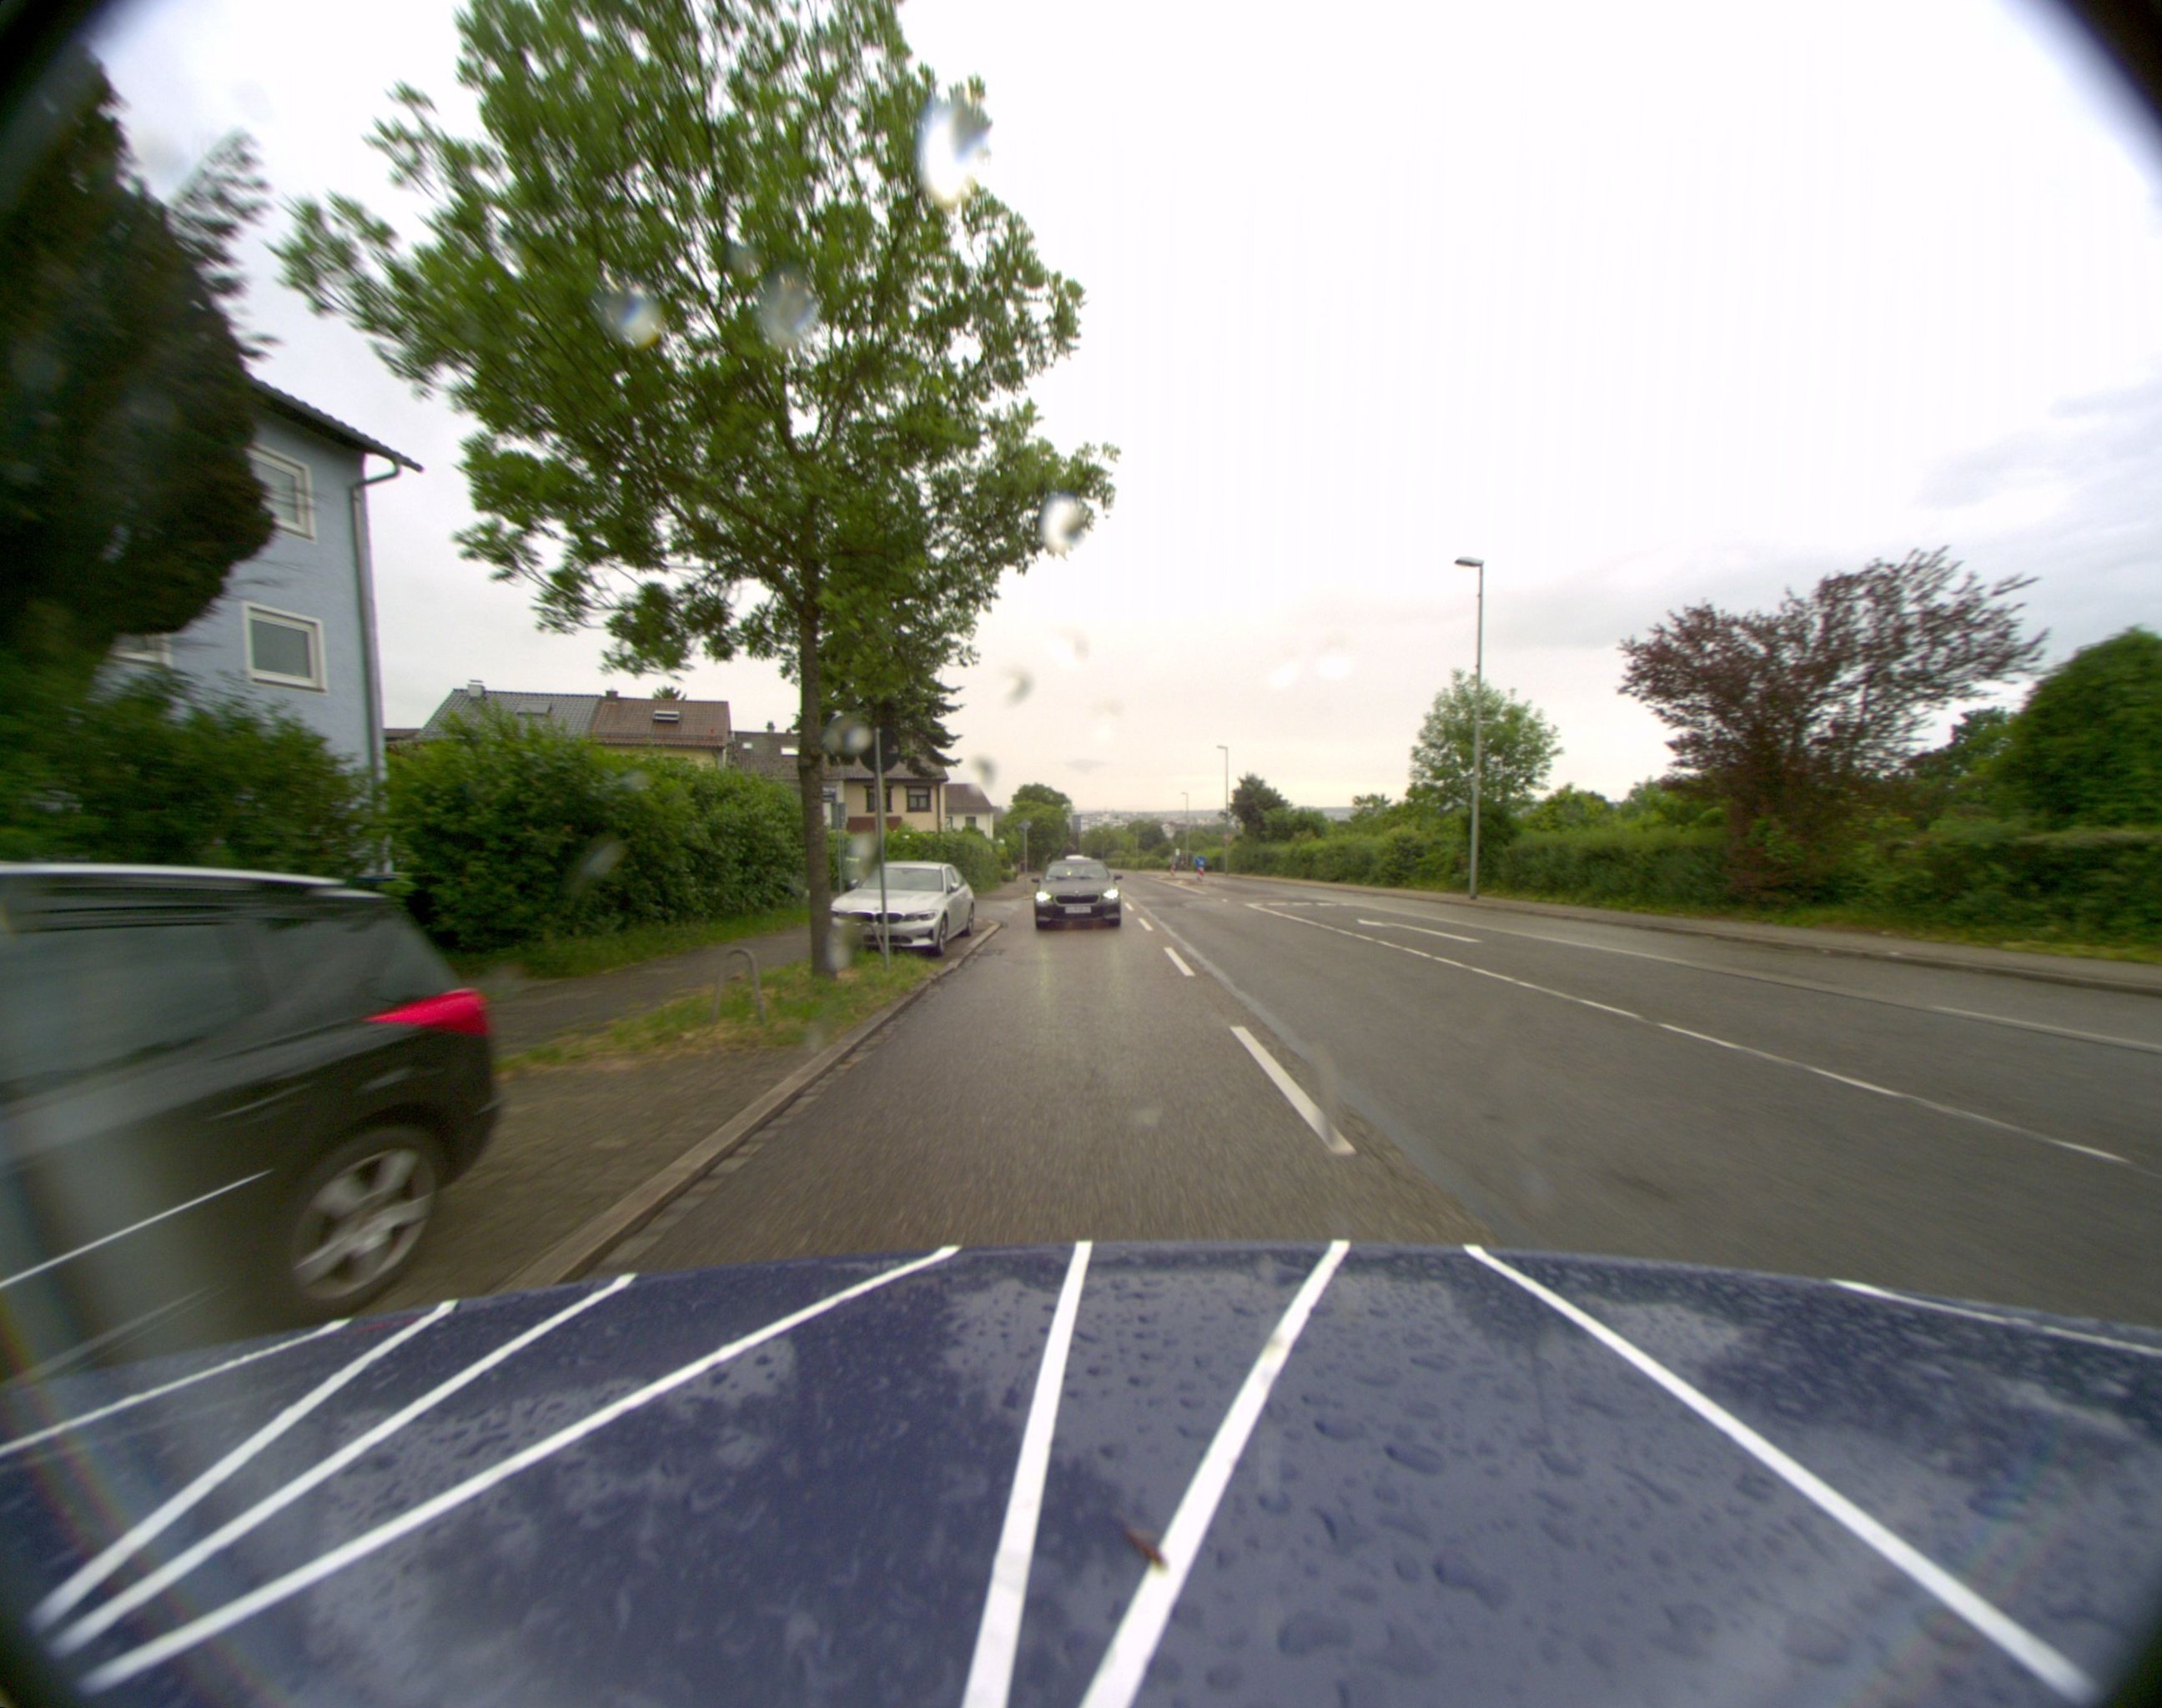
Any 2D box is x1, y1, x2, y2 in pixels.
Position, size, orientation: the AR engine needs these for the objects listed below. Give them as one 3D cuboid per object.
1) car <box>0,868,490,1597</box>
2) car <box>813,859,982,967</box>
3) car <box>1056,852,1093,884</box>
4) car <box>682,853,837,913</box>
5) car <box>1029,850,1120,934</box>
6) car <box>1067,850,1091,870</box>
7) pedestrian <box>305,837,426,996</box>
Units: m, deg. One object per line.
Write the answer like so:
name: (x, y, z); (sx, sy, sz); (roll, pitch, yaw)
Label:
car: (-3.241, 0.869, 1.095); (1.646, 1.586, 4.013); (1, 0, 0)
car: (-2.999, 0.881, 13.472); (1.803, 1.513, 4.591); (1, 0, 1)
car: (-0.412, 0.760, 43.718); (1.999, 1.674, 4.172); (0, 1, -2)
car: (-9.370, 0.807, 22.336); (3.782, 1.503, 1.727); (2, 2, 2)
car: (-0.064, 0.786, 17.984); (1.828, 1.668, 4.296); (-2, 0, 2)
car: (-0.212, 0.523, 67.853); (1.999, 1.674, 4.172); (0, 1, -2)
pedestrian: (-7.871, 0.657, 8.378); (0.709, 1.670, 0.654); (1, 1, 8)
